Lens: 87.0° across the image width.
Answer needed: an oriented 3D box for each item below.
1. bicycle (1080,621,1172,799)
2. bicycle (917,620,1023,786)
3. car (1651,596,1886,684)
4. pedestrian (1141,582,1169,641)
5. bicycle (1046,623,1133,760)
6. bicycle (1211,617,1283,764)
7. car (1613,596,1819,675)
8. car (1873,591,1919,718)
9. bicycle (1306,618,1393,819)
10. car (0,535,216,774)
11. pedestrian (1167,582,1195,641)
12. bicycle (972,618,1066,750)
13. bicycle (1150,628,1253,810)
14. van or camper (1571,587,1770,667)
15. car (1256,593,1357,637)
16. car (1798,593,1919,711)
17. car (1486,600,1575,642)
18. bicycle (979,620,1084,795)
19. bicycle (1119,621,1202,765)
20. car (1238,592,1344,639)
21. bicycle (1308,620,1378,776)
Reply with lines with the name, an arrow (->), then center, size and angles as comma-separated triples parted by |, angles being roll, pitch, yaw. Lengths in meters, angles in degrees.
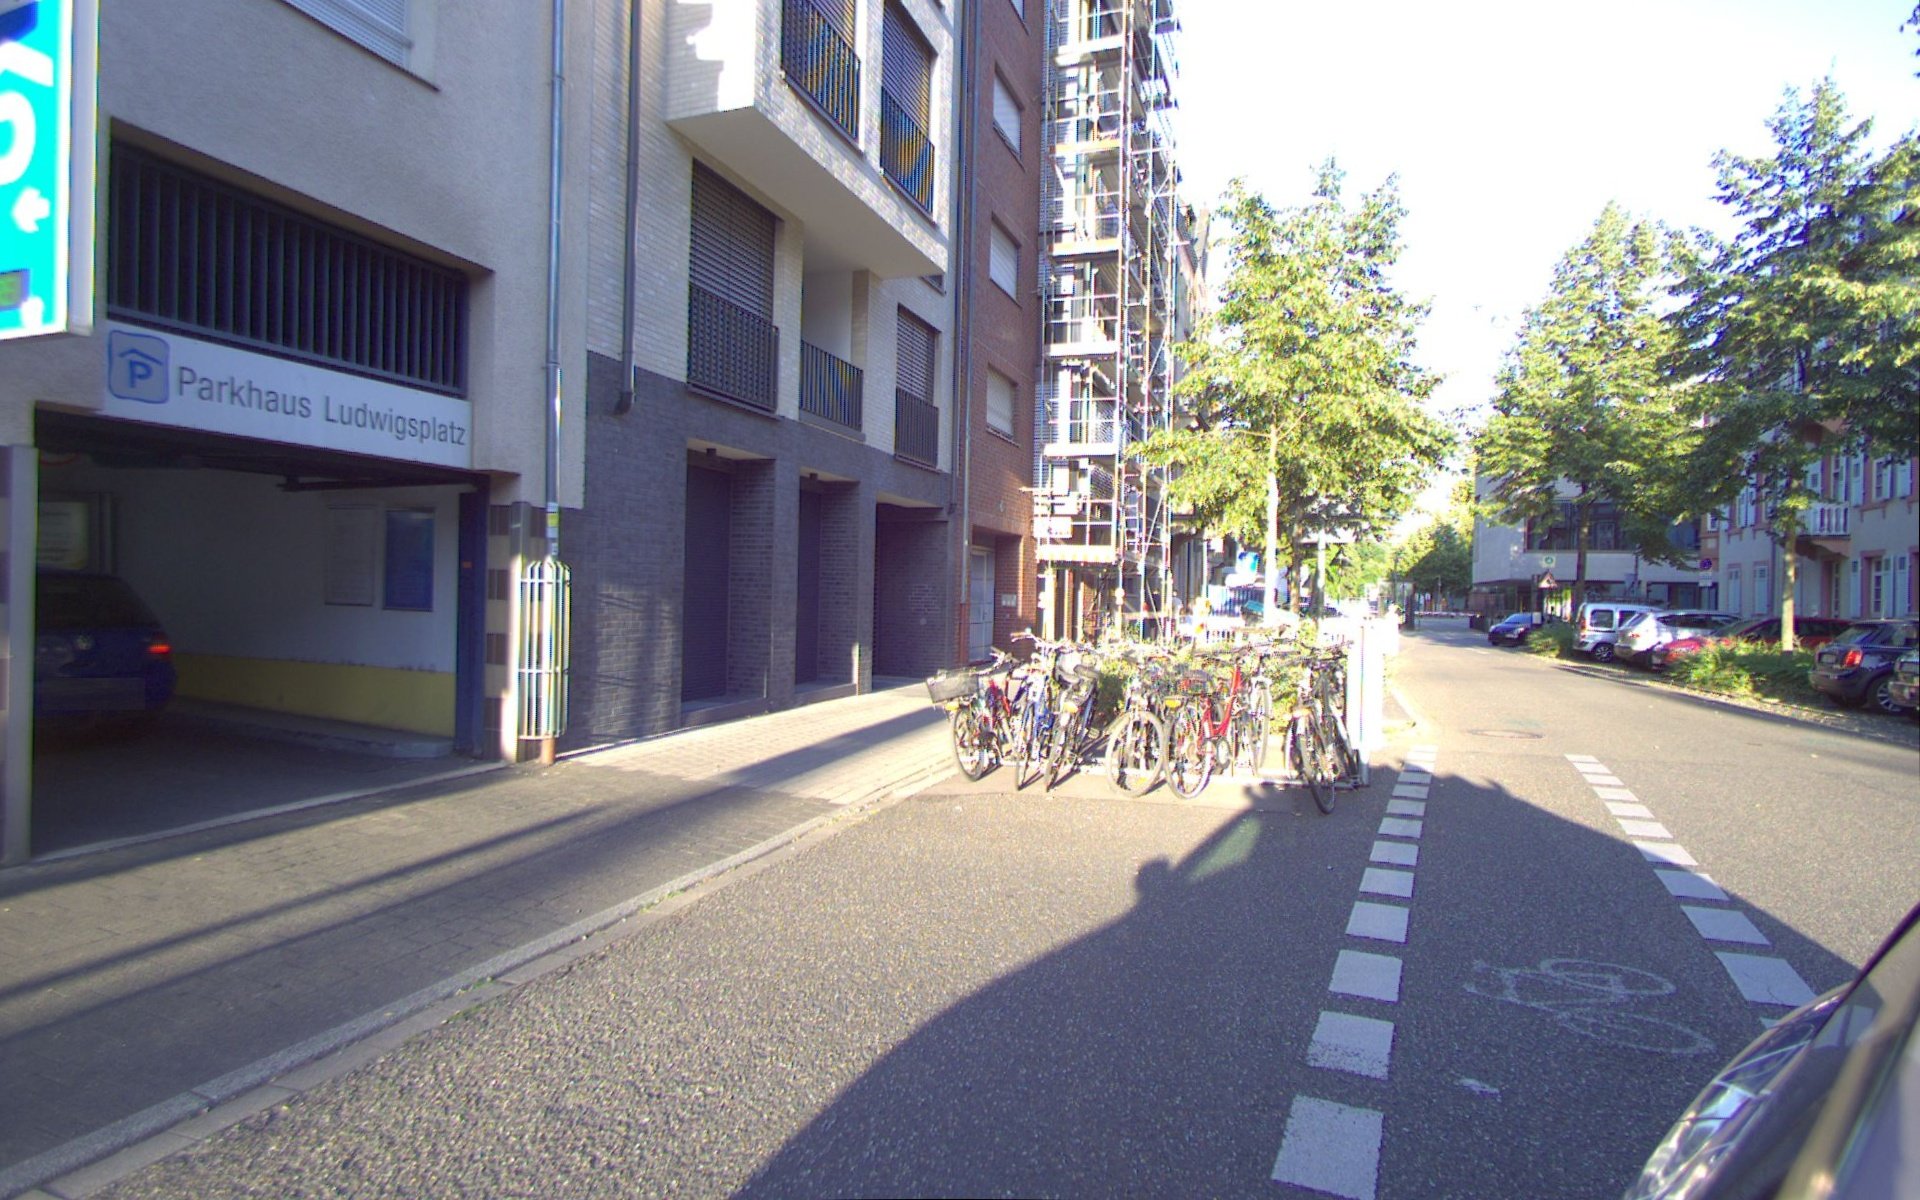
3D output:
bicycle -> 1.299, 0.774, 7.748 | 0.377, 1.174, 1.541 | 2, 0, 21
bicycle -> 0.109, 0.781, 8.259 | 0.383, 1.198, 1.396 | 2, 0, 21
car -> 18.188, 0.848, 22.984 | 3.650, 1.691, 1.847 | 3, 1, 19
pedestrian -> 6.061, 0.353, 31.396 | 0.735, 1.806, 0.652 | 1, 0, 21
bicycle -> 1.270, 0.824, 9.702 | 0.463, 1.158, 1.541 | 2, 0, 21
bicycle -> 2.630, 0.762, 9.189 | 0.483, 1.178, 1.541 | 2, 0, 21
car -> 18.883, 0.844, 25.476 | 3.650, 1.691, 1.847 | 3, 1, 19
car -> 14.752, 0.837, 13.015 | 3.958, 1.691, 1.847 | 3, 1, 19
bicycle -> 2.775, 0.768, 7.248 | 0.493, 1.236, 1.541 | 2, 0, 21
car -> -8.226, 0.258, 7.951 | 4.061, 1.582, 1.685 | 4, 1, 16
pedestrian -> 6.821, 0.349, 31.241 | 0.734, 1.806, 0.652 | 1, 0, 20
bicycle -> 0.606, 0.772, 9.910 | 0.453, 1.146, 1.541 | 2, 0, 21
bicycle -> 1.842, 0.825, 7.601 | 0.414, 1.171, 1.538 | 2, 0, 25
van or camper -> 20.965, 0.754, 30.083 | 4.398, 2.030, 1.847 | 3, 1, 19
car -> 14.934, 0.628, 43.640 | 3.956, 1.705, 1.876 | 2, 1, 24
car -> 15.392, 0.838, 15.318 | 3.650, 1.691, 1.847 | 3, 1, 19
car -> 23.869, 0.879, 42.288 | 3.627, 1.587, 1.858 | 2, 1, -36
bicycle -> 0.599, 0.785, 8.039 | 0.383, 1.204, 1.541 | 2, 0, 21
bicycle -> 1.875, 0.803, 9.341 | 0.483, 1.164, 1.541 | 2, 0, 21
car -> 13.529, 0.594, 41.339 | 3.956, 1.705, 1.876 | 2, 1, 24
bicycle -> 3.349, 0.795, 8.869 | 0.503, 1.193, 1.541 | 2, 0, 21
